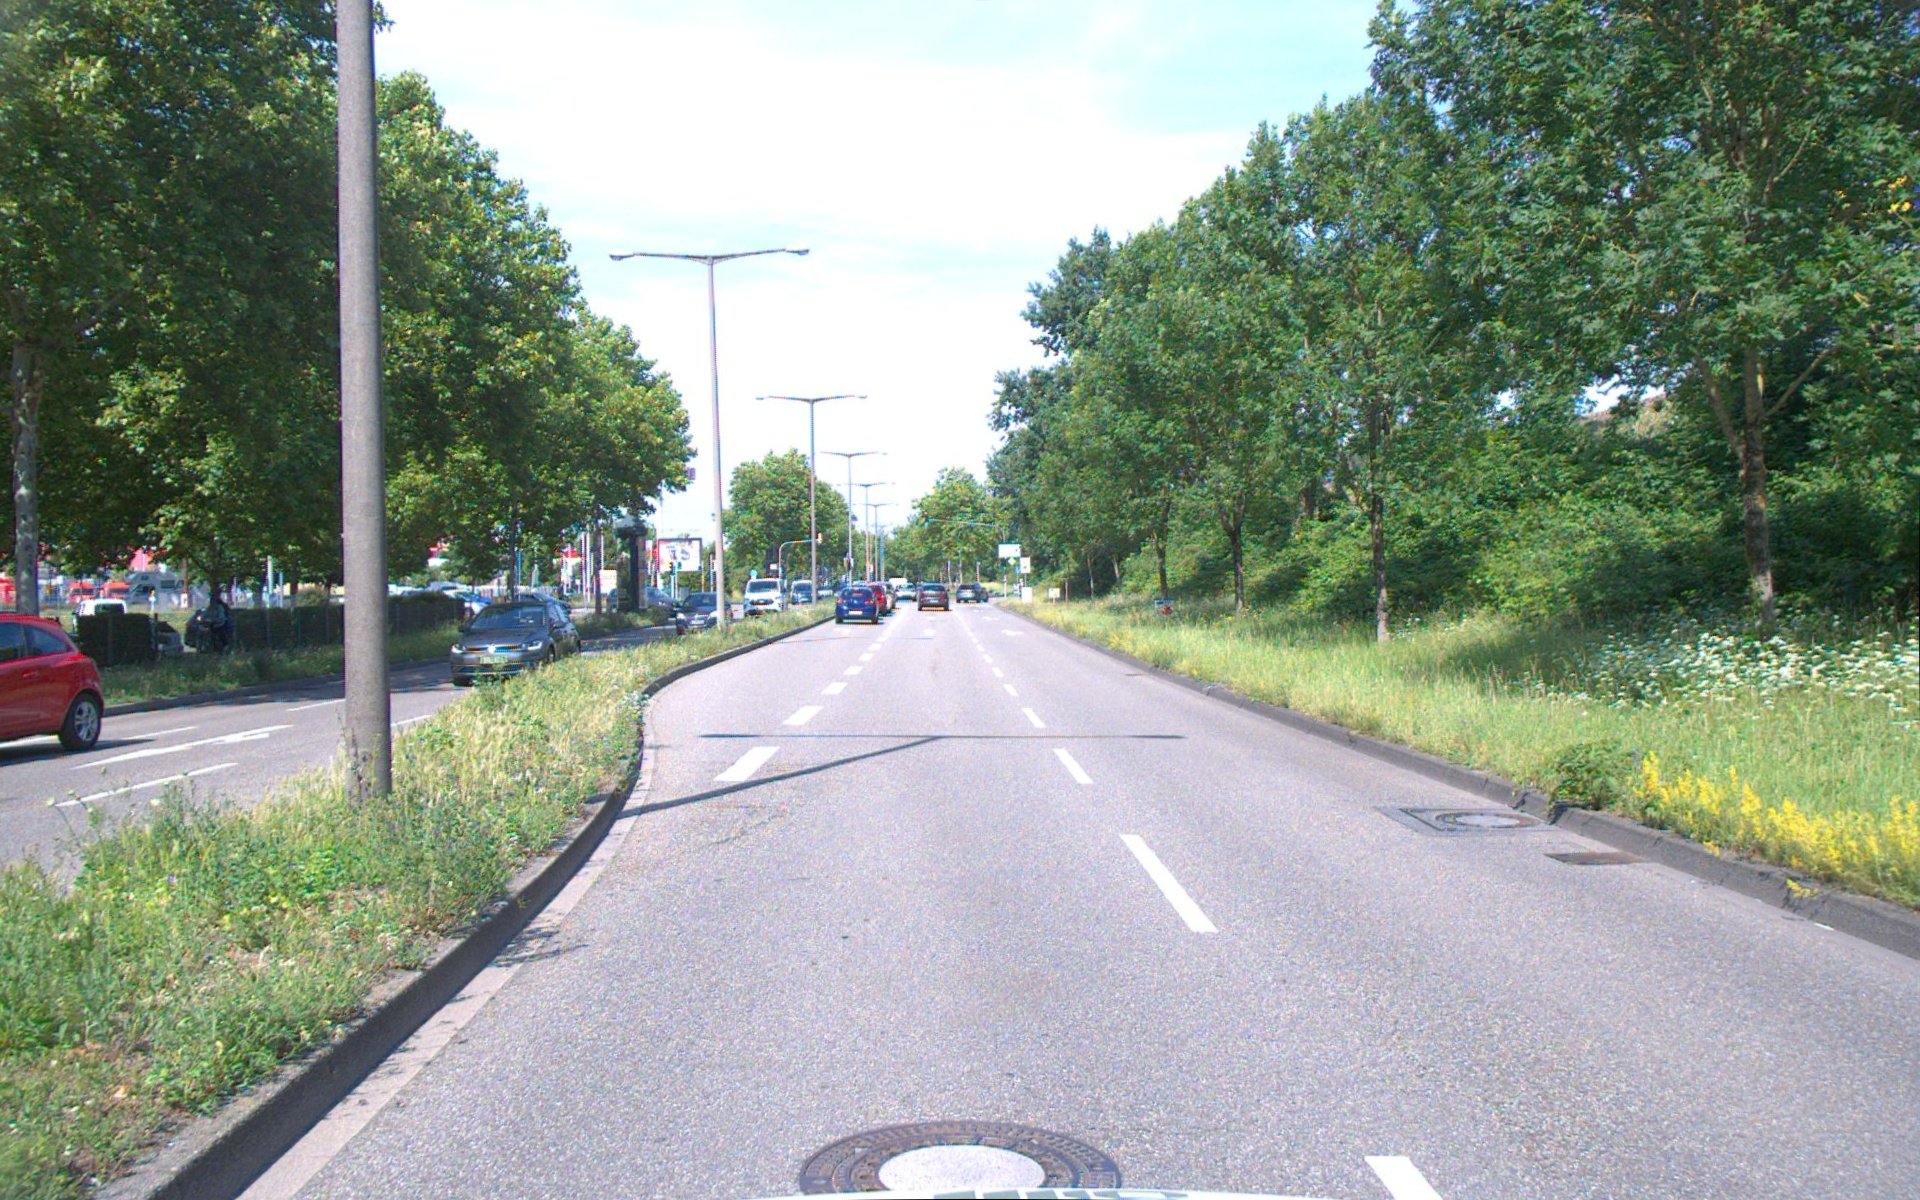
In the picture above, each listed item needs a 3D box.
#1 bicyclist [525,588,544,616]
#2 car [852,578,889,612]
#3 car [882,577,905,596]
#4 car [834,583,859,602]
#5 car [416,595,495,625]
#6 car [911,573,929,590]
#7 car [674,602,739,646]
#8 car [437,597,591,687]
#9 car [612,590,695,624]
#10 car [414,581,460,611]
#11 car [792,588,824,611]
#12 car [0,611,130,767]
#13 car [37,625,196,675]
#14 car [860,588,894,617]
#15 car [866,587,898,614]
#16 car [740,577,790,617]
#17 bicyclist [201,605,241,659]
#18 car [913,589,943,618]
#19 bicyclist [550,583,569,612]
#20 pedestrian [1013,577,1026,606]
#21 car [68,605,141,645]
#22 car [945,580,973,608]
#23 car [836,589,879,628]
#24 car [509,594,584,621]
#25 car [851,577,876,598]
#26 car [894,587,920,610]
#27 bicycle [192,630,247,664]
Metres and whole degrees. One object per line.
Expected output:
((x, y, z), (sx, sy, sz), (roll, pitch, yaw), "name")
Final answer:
((-26.381, 0.107, 102.444), (0.890, 1.675, 0.778), (-2, 3, -37), "bicyclist")
((-4.455, -0.268, 82.693), (1.746, 1.620, 4.592), (0, 0, -2), "car")
((-6.194, -1.247, 153.555), (1.953, 1.738, 4.263), (-1, 0, -1), "car")
((-10.748, -0.704, 156.852), (1.952, 1.806, 4.001), (-1, 0, 1), "car")
((-29.466, 0.580, 96.690), (4.061, 1.631, 1.724), (-1, 0, 11), "car")
((-5.027, -2.299, 206.705), (1.954, 2.049, 3.996), (-1, 0, -5), "car")
((-9.211, 0.854, 60.325), (1.732, 1.494, 4.282), (-2, 0, -1), "car")
((-8.203, 0.720, 30.775), (1.802, 1.504, 4.165), (-1, 0, -1), "car")
((-16.925, 0.384, 91.276), (4.301, 1.781, 1.866), (-1, 0, 29), "car")
((-46.212, -0.325, 146.054), (1.986, 2.577, 4.563), (-2, 1, -45), "car")
((-11.068, -0.045, 120.574), (1.953, 1.557, 4.681), (-2, 0, -1), "car")
((-10.218, 0.918, 16.473), (1.727, 1.488, 4.001), (-2, 0, 2), "car")
((-25.744, 1.505, 50.569), (3.911, 1.438, 1.802), (-1, -1, -7), "car")
((-4.466, 0.119, 89.431), (1.730, 1.505, 4.134), (1, 0, -2), "car")
((-4.810, 0.000, 102.377), (1.843, 1.646, 4.211), (0, 0, -2), "car")
((-9.951, -0.149, 84.925), (2.074, 1.916, 5.417), (-2, 0, -2), "car")
((-20.948, 0.896, 46.889), (0.667, 1.511, 0.941), (-1, 0, -1), "bicyclist")
((-1.903, 0.201, 98.987), (1.701, 1.562, 4.001), (0, 3, -1), "car")
((-25.266, -0.164, 104.290), (0.890, 1.745, 0.772), (-2, 3, -37), "bicyclist")
((4.176, -0.609, 116.621), (0.821, 1.966, 0.771), (0, 2, -5), "pedestrian")
((-39.288, 1.145, 75.887), (1.982, 1.694, 4.774), (-2, 0, -40), "car")
((-0.077, -0.460, 123.171), (1.977, 1.869, 4.000), (0, 3, -1), "car")
((-4.189, 0.324, 68.152), (1.593, 1.509, 4.047), (1, 0, -2), "car")
((-23.835, 0.432, 95.330), (3.908, 1.412, 1.764), (-1, 1, 26), "car")
((-8.736, -1.126, 150.156), (1.953, 1.892, 4.000), (-1, 0, 0), "car")
((-4.224, -0.123, 131.503), (1.953, 1.774, 4.264), (-1, 0, -1), "car")
((-20.943, 1.332, 46.812), (0.675, 0.881, 1.926), (-1, 0, -1), "bicycle")
